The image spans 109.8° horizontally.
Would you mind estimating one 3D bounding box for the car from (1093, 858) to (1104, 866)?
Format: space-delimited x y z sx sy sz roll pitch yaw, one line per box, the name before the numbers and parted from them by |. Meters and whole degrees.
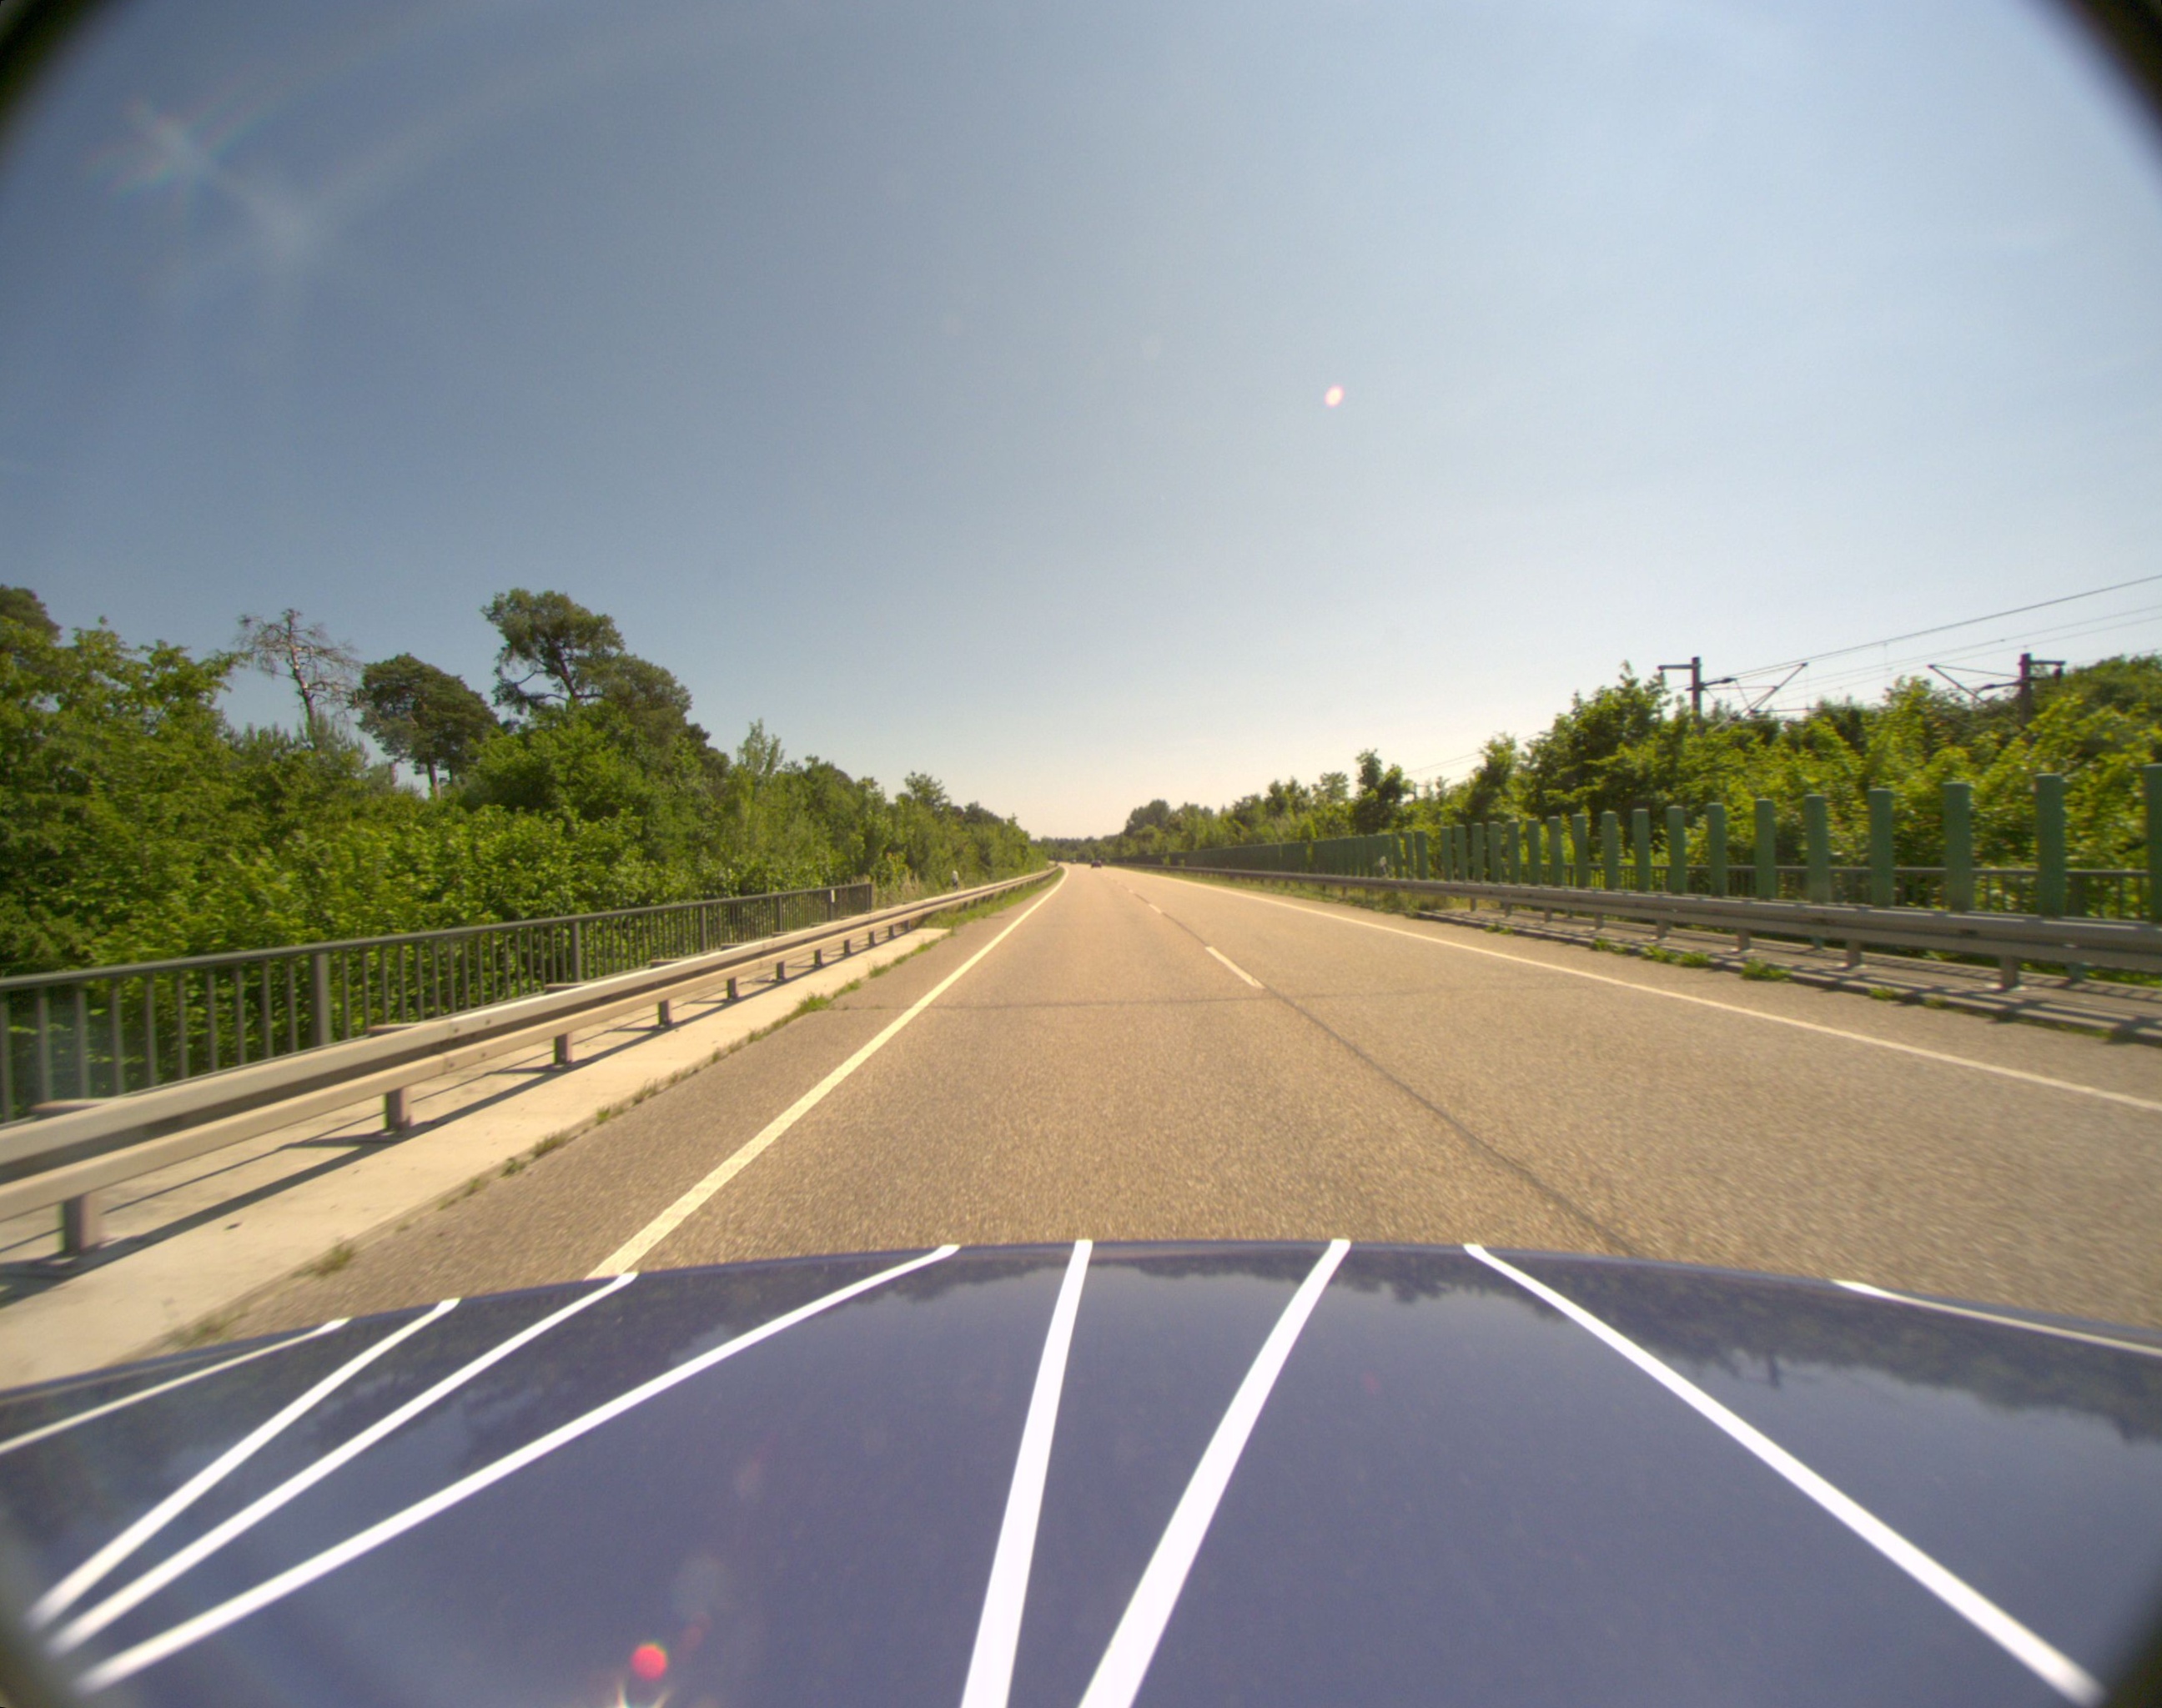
car | 3.164 1.422 134.906 1.791 1.364 3.897 -2 0 3
